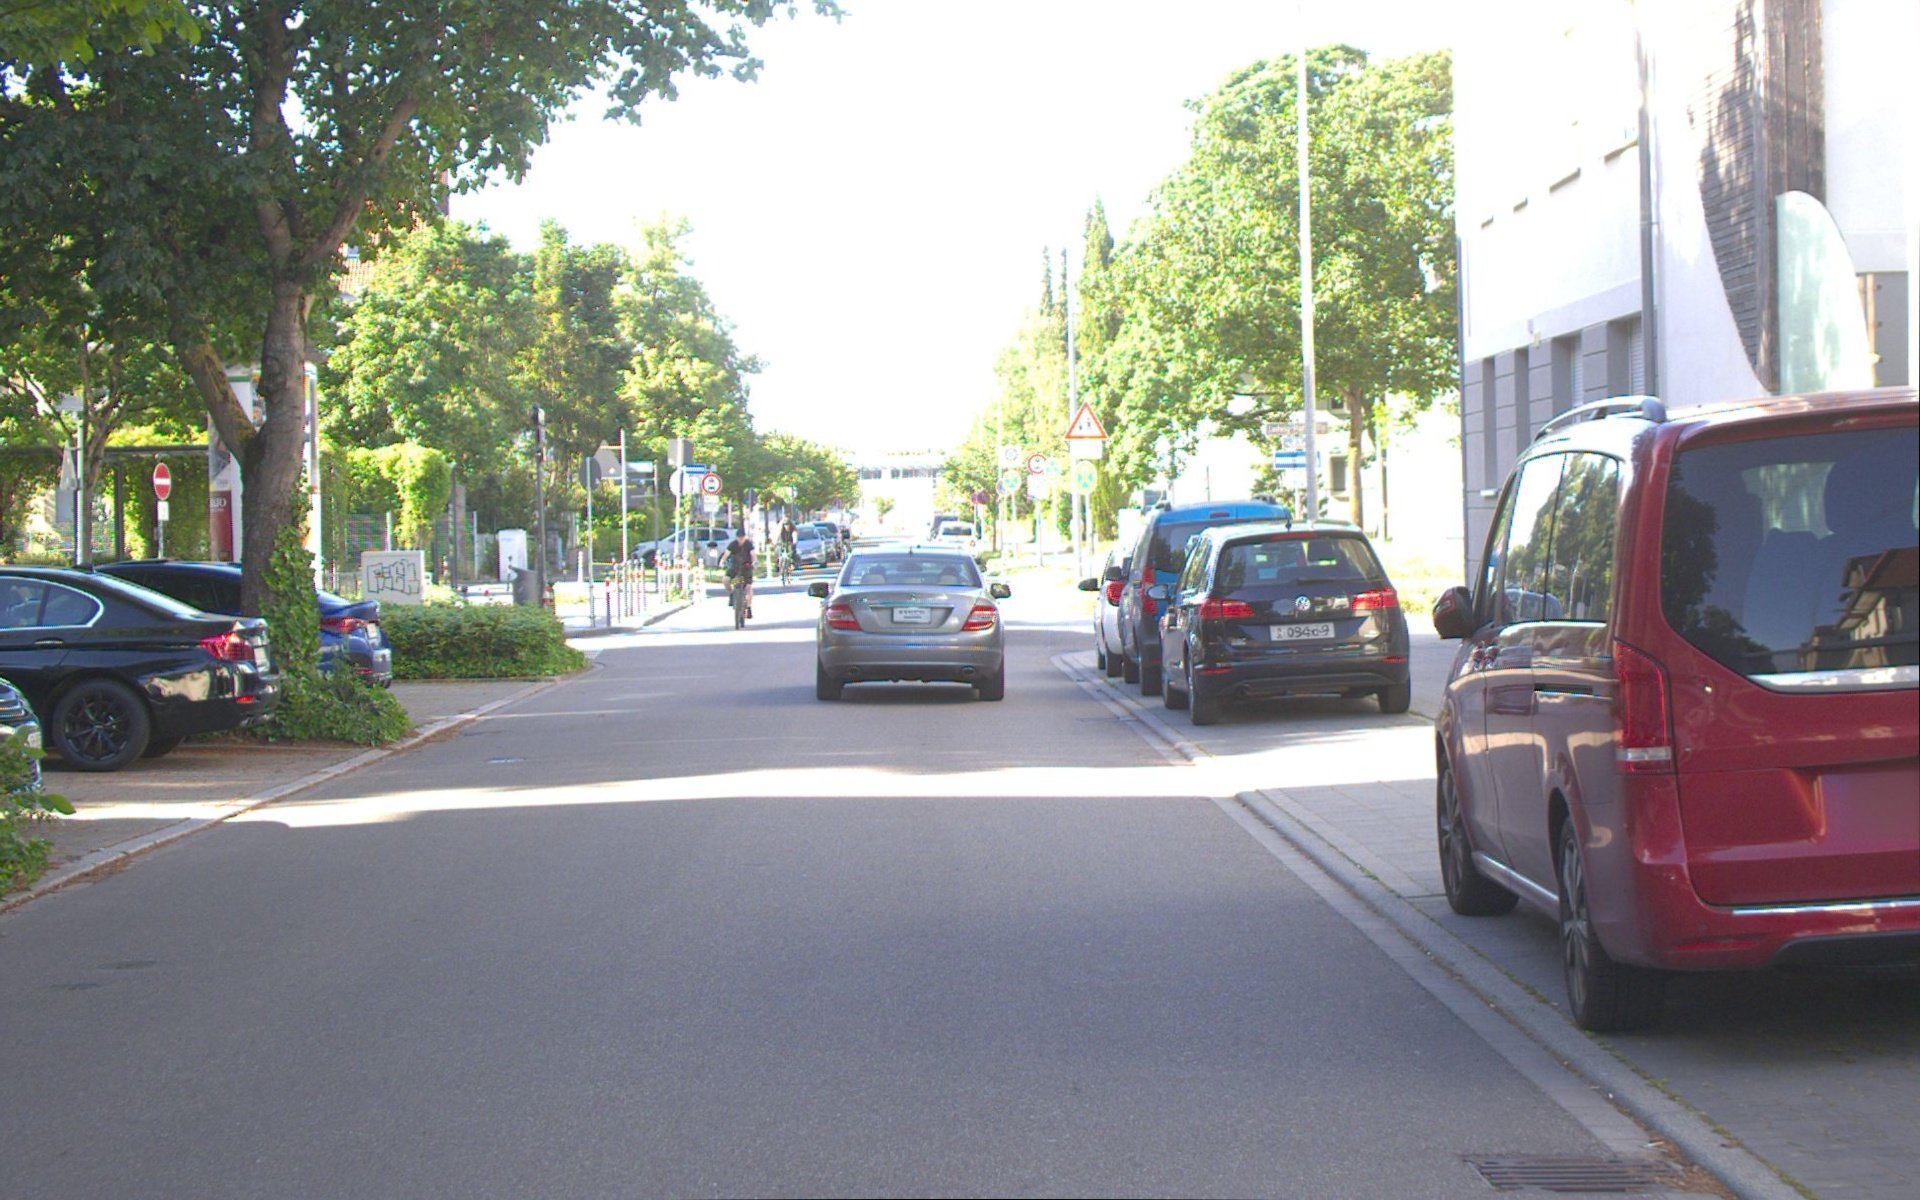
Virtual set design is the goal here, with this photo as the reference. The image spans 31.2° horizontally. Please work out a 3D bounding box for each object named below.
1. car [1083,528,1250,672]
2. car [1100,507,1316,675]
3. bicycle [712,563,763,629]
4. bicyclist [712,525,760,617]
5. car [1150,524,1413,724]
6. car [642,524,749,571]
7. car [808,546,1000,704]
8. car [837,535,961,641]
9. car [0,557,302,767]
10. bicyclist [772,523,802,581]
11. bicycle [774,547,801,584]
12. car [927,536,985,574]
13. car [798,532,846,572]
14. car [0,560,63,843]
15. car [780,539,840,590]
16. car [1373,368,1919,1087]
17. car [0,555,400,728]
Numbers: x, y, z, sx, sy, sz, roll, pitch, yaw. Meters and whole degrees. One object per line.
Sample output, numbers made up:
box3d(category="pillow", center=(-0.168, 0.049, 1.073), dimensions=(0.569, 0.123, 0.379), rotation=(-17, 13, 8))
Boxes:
box3d(category="car", center=(2.273, -0.003, 38.631), dimensions=(1.564, 1.406, 3.729), rotation=(-5, 0, 1))
box3d(category="car", center=(2.404, -0.083, 34.266), dimensions=(1.682, 1.430, 4.266), rotation=(-5, 0, -1))
box3d(category="bicycle", center=(-3.805, -0.077, 58.888), dimensions=(0.719, 1.075, 1.891), rotation=(-2, 1, 0))
box3d(category="bicyclist", center=(-3.837, -0.501, 58.903), dimensions=(0.721, 1.531, 1.137), rotation=(-2, 1, 0))
box3d(category="car", center=(2.583, 0.144, 28.512), dimensions=(1.737, 1.526, 4.179), rotation=(-1, 1, -1))
box3d(category="car", center=(-8.881, -1.773, 115.413), dimensions=(3.493, 1.528, 1.645), rotation=(-1, 1, -7))
box3d(category="car", center=(-0.496, 0.224, 33.185), dimensions=(1.726, 1.415, 3.960), rotation=(1, 0, 0))
box3d(category="car", center=(-0.893, -0.171, 49.924), dimensions=(1.707, 1.443, 4.203), rotation=(1, 0, -1))
box3d(category="car", center=(-7.189, 0.434, 25.056), dimensions=(4.473, 1.474, 1.869), rotation=(0, 0, -2))
box3d(category="bicyclist", center=(-4.510, -1.255, 89.638), dimensions=(0.680, 1.504, 0.655), rotation=(-1, 1, 1))
box3d(category="bicycle", center=(-4.490, -0.911, 89.637), dimensions=(0.589, 0.928, 1.850), rotation=(-1, 1, 1))
box3d(category="car", center=(-0.172, -1.640, 123.478), dimensions=(1.722, 1.325, 4.001), rotation=(-1, 1, -5))
box3d(category="car", center=(-5.799, -2.010, 144.049), dimensions=(1.787, 1.527, 4.000), rotation=(-2, 0, -5))
box3d(category="car", center=(-7.206, 0.504, 18.894), dimensions=(4.171, 1.495, 2.000), rotation=(1, 0, -7))
box3d(category="car", center=(-5.302, -1.268, 120.928), dimensions=(1.872, 1.722, 4.001), rotation=(-1, 1, -5))
box3d(category="car", center=(2.687, 0.299, 11.823), dimensions=(1.871, 1.898, 5.197), rotation=(-2, 1, 0))
box3d(category="car", center=(-7.283, 0.348, 30.220), dimensions=(4.473, 1.474, 1.869), rotation=(0, 0, -2))
